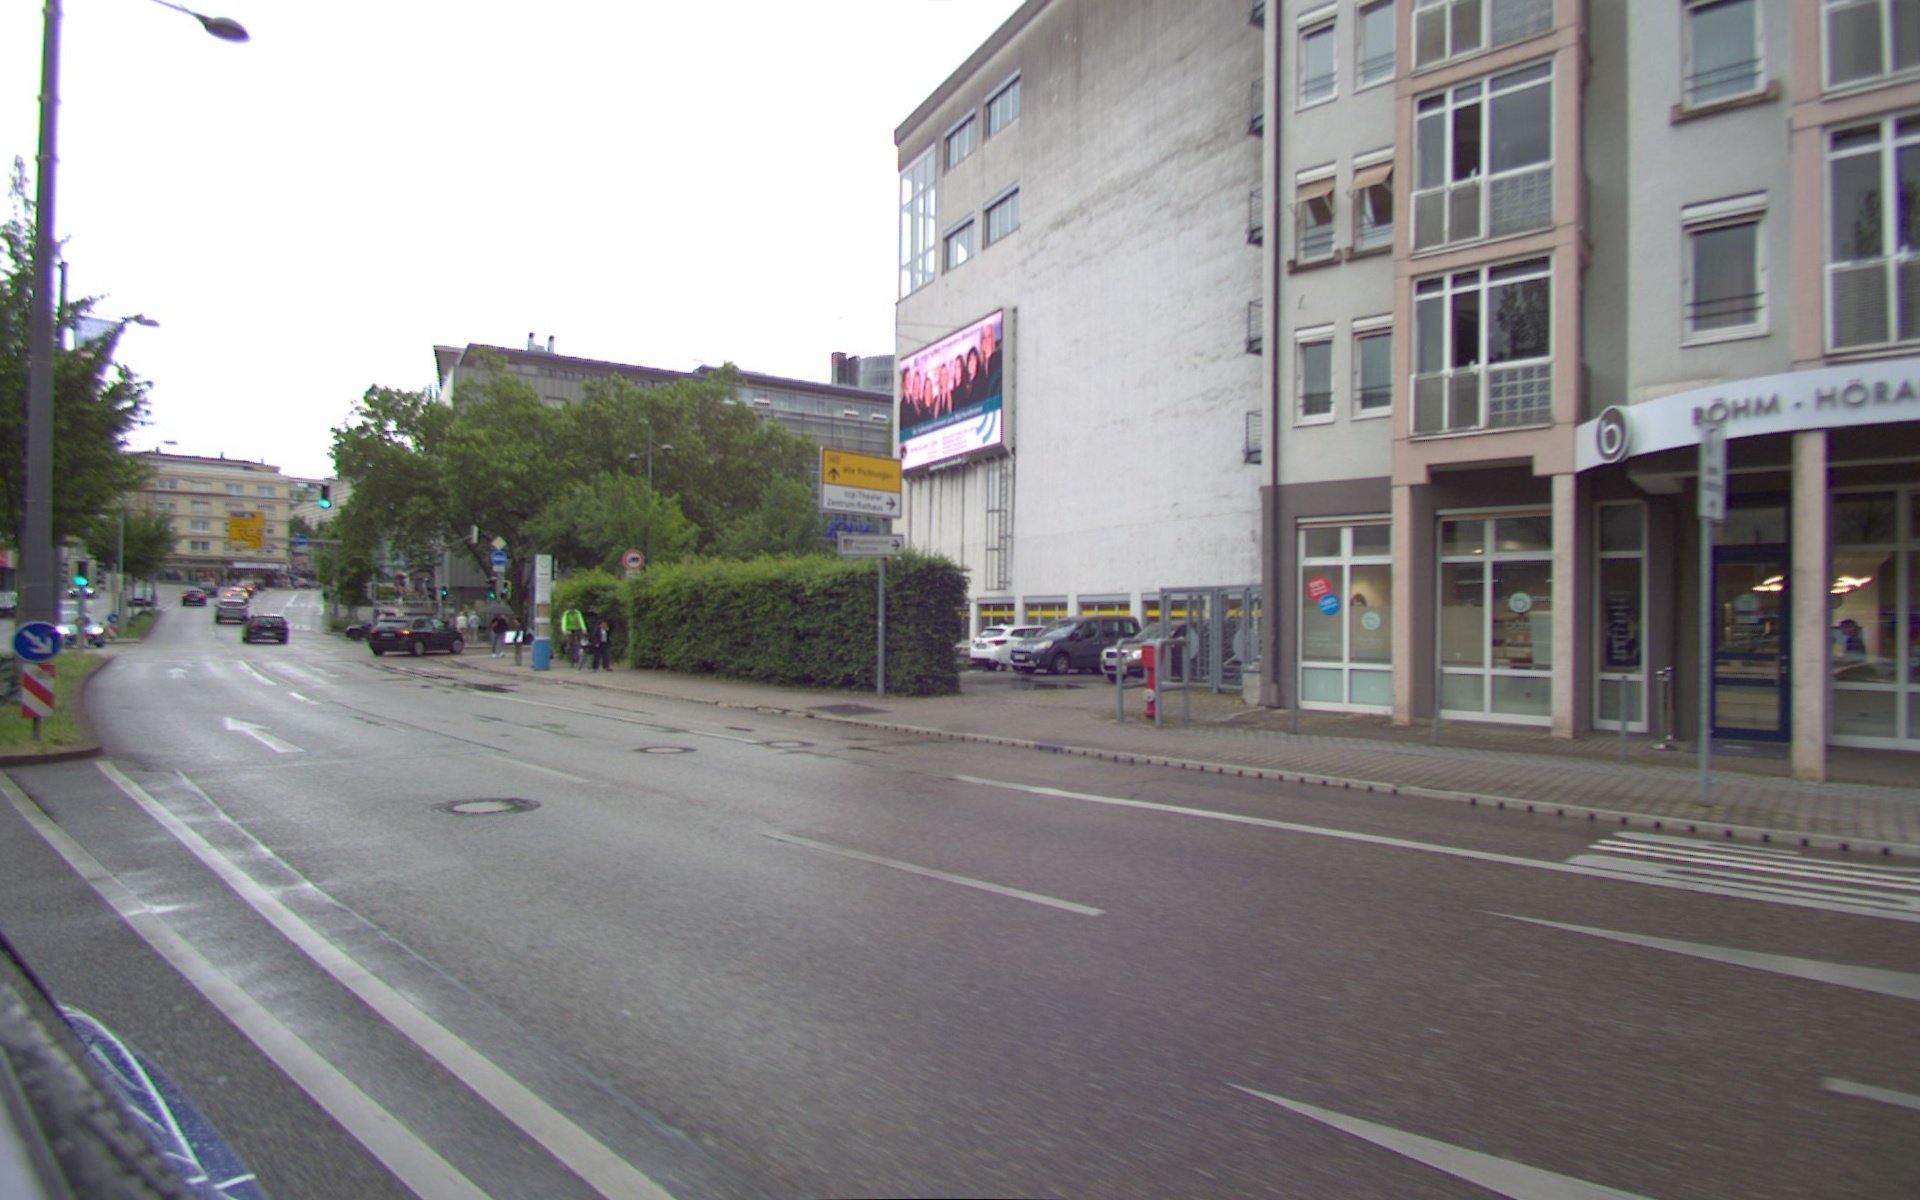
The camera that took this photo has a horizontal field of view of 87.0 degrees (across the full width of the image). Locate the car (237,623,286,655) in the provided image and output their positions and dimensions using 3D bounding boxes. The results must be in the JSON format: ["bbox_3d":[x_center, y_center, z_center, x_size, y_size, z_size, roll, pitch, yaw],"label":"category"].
[{"bbox_3d":[-34.810,1.928,50.394,1.735,1.431,4.105,4,-3,-38],"label":"car"}]

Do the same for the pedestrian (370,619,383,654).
[{"bbox_3d":[-31.961,1.983,55.422,0.441,1.851,0.677,2,1,-41],"label":"pedestrian"}]

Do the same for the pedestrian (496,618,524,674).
[{"bbox_3d":[-14.362,1.458,32.310,0.528,1.778,0.622,-1,-2,40],"label":"pedestrian"}]

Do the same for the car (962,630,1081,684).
[{"bbox_3d":[1.999,1.792,32.596,3.539,1.587,1.605,0,0,-31],"label":"car"}]

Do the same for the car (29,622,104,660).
[{"bbox_3d":[-36.875,1.675,41.748,3.686,1.485,1.679,-1,-3,39],"label":"car"}]

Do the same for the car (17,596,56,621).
[{"bbox_3d":[-73.162,0.623,80.214,1.803,1.749,4.010,3,0,-36],"label":"car"}]

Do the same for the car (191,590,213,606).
[{"bbox_3d":[-79.385,-0.227,106.004,1.691,1.490,3.966,4,-2,-38],"label":"car"}]

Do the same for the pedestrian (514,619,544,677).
[{"bbox_3d":[-13.300,1.473,31.209,0.643,1.778,0.585,-1,-2,38],"label":"pedestrian"}]

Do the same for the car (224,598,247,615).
[{"bbox_3d":[-70.512,0.626,98.440,1.650,1.527,3.651,3,-2,-37],"label":"car"}]

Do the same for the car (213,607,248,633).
[{"bbox_3d":[-51.748,1.399,71.732,1.804,1.749,4.319,2,-1,-38],"label":"car"}]

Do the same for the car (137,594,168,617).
[{"bbox_3d":[-69.631,0.454,87.330,1.803,1.749,4.010,3,0,-36],"label":"car"}]

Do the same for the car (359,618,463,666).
[{"bbox_3d":[-21.711,1.667,40.240,1.807,1.749,4.259,2,-3,-1],"label":"car"}]

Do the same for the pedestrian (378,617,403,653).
[{"bbox_3d":[-30.631,1.874,54.455,0.824,1.921,0.852,0,-1,29],"label":"pedestrian"}]

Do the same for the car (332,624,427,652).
[{"bbox_3d":[-33.829,2.215,59.085,4.360,1.406,1.935,2,-2,-4],"label":"car"}]

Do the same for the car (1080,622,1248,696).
[{"bbox_3d":[5.246,1.481,25.984,3.931,1.752,1.960,2,-2,-30],"label":"car"}]

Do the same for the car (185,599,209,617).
[{"bbox_3d":[-68.282,0.705,90.569,1.602,1.567,3.666,2,-2,-39],"label":"car"}]

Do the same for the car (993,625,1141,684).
[{"bbox_3d":[3.213,1.579,30.349,3.992,1.587,1.961,0,0,-28],"label":"car"}]

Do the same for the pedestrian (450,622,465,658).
[{"bbox_3d":[-25.137,2.005,50.600,0.520,1.777,0.594,-2,1,-39],"label":"pedestrian"}]

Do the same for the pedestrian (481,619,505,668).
[{"bbox_3d":[-17.307,1.612,37.513,0.639,1.777,0.593,2,1,-42],"label":"pedestrian"}]

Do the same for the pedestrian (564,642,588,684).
[{"bbox_3d":[-10.860,1.776,28.640,0.502,1.159,0.463,-2,-3,44],"label":"pedestrian"}]

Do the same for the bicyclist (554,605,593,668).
[{"bbox_3d":[-11.887,1.110,31.129,0.954,1.904,0.782,-1,-2,44],"label":"bicyclist"}]

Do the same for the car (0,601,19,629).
[{"bbox_3d":[-66.708,1.012,69.998,1.803,1.749,4.010,3,0,-36],"label":"car"}]

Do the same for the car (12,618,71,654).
[{"bbox_3d":[-41.165,1.594,45.408,1.743,1.420,4.007,0,0,-39],"label":"car"}]

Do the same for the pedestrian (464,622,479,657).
[{"bbox_3d":[-24.801,2.003,51.344,0.520,1.778,0.593,3,-3,-39],"label":"pedestrian"}]

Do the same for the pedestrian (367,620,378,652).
[{"bbox_3d":[-32.610,1.981,56.167,0.406,1.777,0.678,2,-3,-39],"label":"pedestrian"}]

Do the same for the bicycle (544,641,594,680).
[{"bbox_3d":[-12.068,1.837,31.171,0.643,1.119,2.059,2,-2,-45],"label":"bicycle"}]

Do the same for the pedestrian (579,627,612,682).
[{"bbox_3d":[-10.487,1.563,29.110,0.565,1.571,0.706,-2,-3,44],"label":"pedestrian"}]
